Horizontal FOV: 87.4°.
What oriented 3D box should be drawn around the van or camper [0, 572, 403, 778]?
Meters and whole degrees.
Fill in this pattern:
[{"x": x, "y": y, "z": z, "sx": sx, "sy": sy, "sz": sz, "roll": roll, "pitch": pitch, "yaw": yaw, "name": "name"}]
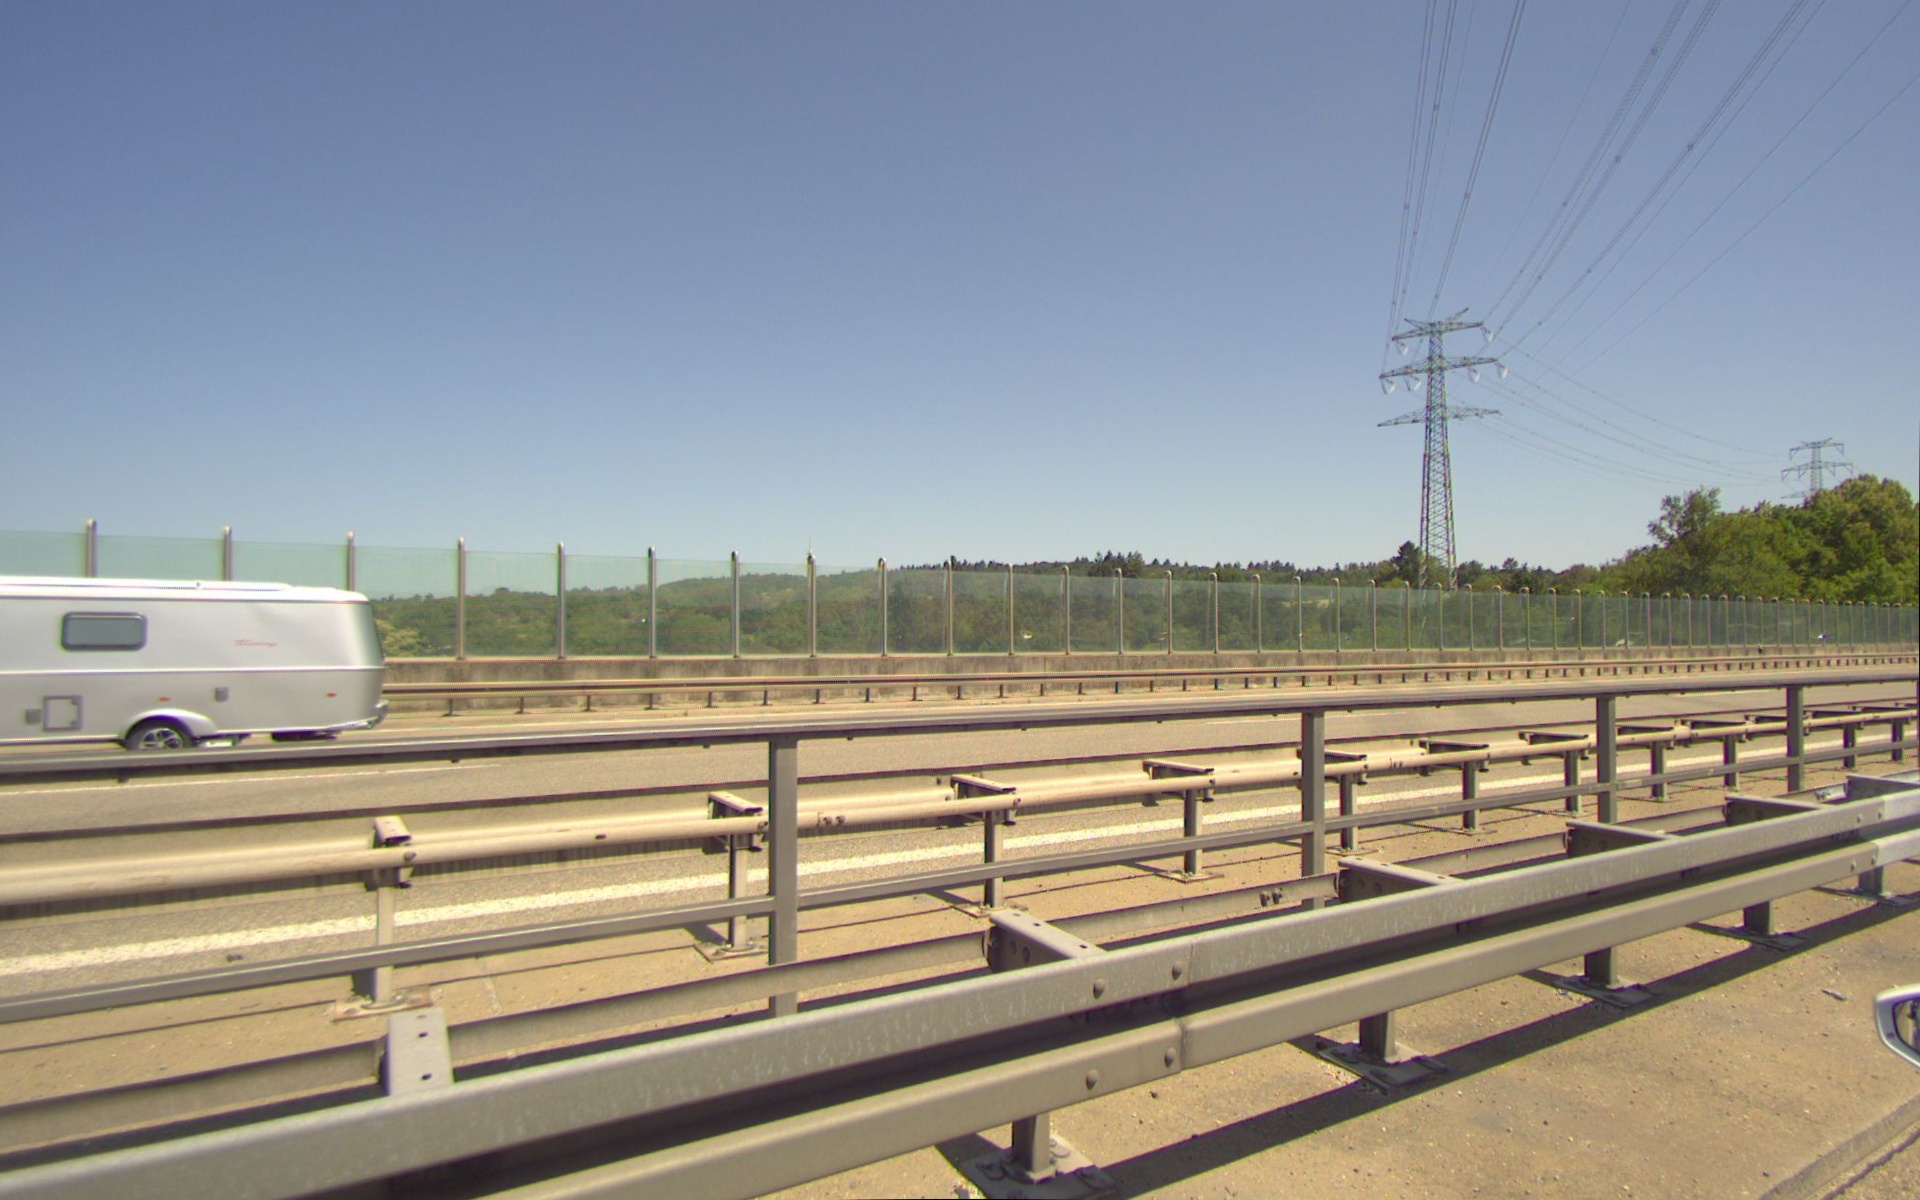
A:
[{"x": -10.019, "y": 0.899, "z": 12.333, "sx": 5.474, "sy": 2.240, "sz": 1.984, "roll": 2, "pitch": -4, "yaw": -31, "name": "van or camper"}]
